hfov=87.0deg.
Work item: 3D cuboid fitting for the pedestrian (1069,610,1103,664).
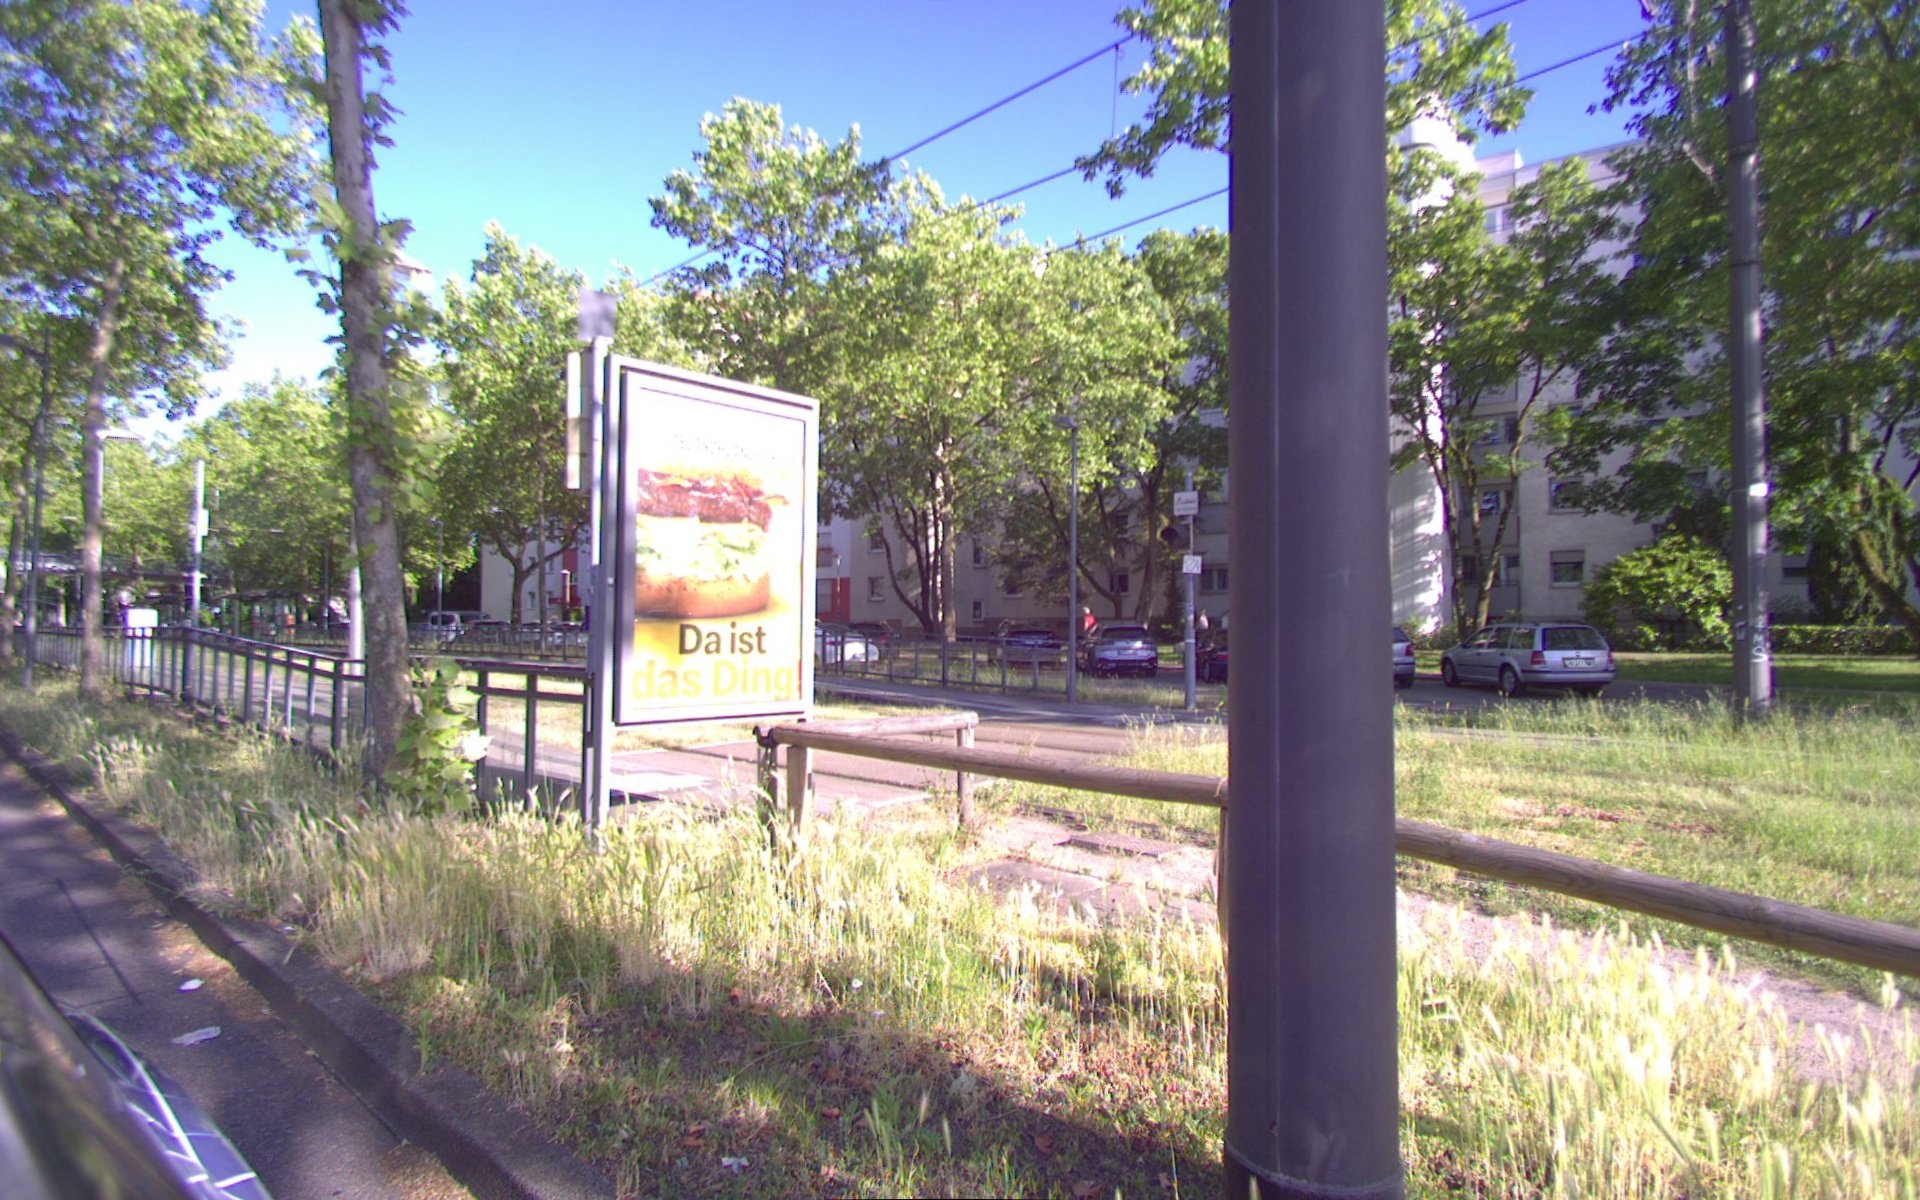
[{"bbox_3d":[4.114,1.199,33.044,0.786,1.745,0.755,-1,0,39],"label":"pedestrian"}]

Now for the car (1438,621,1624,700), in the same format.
[{"bbox_3d":[11.481,1.166,20.664,1.559,1.413,3.906,-1,-1,0],"label":"car"}]

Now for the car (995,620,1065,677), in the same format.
[{"bbox_3d":[1.991,1.361,29.666,1.633,1.522,3.805,-1,-1,-2],"label":"car"}]

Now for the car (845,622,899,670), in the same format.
[{"bbox_3d":[-2.968,1.533,34.649,1.633,1.522,3.805,-1,-1,-2],"label":"car"}]

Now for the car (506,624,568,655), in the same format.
[{"bbox_3d":[-21.329,1.948,51.184,1.633,1.452,3.805,-1,-1,-2],"label":"car"}]

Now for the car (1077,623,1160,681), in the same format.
[{"bbox_3d":[4.225,1.370,27.519,1.633,1.413,3.803,-1,-1,0],"label":"car"}]

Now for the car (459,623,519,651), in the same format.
[{"bbox_3d":[-25.863,2.008,55.660,1.633,1.452,3.805,-1,-1,-2],"label":"car"}]

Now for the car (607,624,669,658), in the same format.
[{"bbox_3d":[-14.055,1.773,44.337,1.633,1.366,3.805,-1,-1,-2],"label":"car"}]

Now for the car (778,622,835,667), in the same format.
[{"bbox_3d":[-5.558,1.576,37.018,1.633,1.522,3.805,-1,-1,-2],"label":"car"}]

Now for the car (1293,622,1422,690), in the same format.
[{"bbox_3d":[9.150,1.244,23.590,1.559,1.413,3.638,-1,-1,0],"label":"car"}]

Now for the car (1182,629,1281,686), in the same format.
[{"bbox_3d":[6.682,1.383,25.277,1.445,1.234,3.815,-1,-1,0],"label":"car"}]

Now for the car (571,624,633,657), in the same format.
[{"bbox_3d":[-16.619,1.863,47.159,1.633,1.452,3.805,-1,-1,-2],"label":"car"}]

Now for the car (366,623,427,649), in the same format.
[{"bbox_3d":[-33.686,2.122,60.603,1.633,1.452,3.805,-1,-1,-2],"label":"car"}]

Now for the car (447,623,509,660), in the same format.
[{"bbox_3d":[-21.166,1.789,44.384,2.817,1.569,1.558,-2,-1,44],"label":"car"}]

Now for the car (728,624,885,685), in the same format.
[{"bbox_3d":[-4.274,1.431,27.741,4.639,1.522,1.634,-2,-1,40],"label":"car"}]

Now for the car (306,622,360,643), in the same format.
[{"bbox_3d":[-44.971,2.297,72.682,1.633,1.452,3.805,-1,-1,-2],"label":"car"}]

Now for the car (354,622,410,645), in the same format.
[{"bbox_3d":[-37.876,2.182,66.379,1.633,1.452,3.805,-1,-1,-2],"label":"car"}]

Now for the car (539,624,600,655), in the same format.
[{"bbox_3d":[-19.037,1.905,49.540,1.633,1.452,3.805,-1,-1,-2],"label":"car"}]

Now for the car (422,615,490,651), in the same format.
[{"bbox_3d":[-28.445,1.833,57.255,1.814,1.888,4.323,-1,-1,-2],"label":"car"}]

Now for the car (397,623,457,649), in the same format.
[{"bbox_3d":[-31.324,2.092,59.599,1.633,1.452,3.805,-1,-1,-2],"label":"car"}]

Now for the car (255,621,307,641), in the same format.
[{"bbox_3d":[-53.042,2.412,79.154,1.633,1.452,3.805,-1,-1,-2],"label":"car"}]

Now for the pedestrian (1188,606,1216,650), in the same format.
[{"bbox_3d":[9.191,1.059,38.405,0.786,1.635,0.755,-1,0,39],"label":"pedestrian"}]

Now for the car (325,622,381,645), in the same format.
[{"bbox_3d":[-40.830,2.236,68.192,1.633,1.452,3.805,-1,-1,-2],"label":"car"}]
